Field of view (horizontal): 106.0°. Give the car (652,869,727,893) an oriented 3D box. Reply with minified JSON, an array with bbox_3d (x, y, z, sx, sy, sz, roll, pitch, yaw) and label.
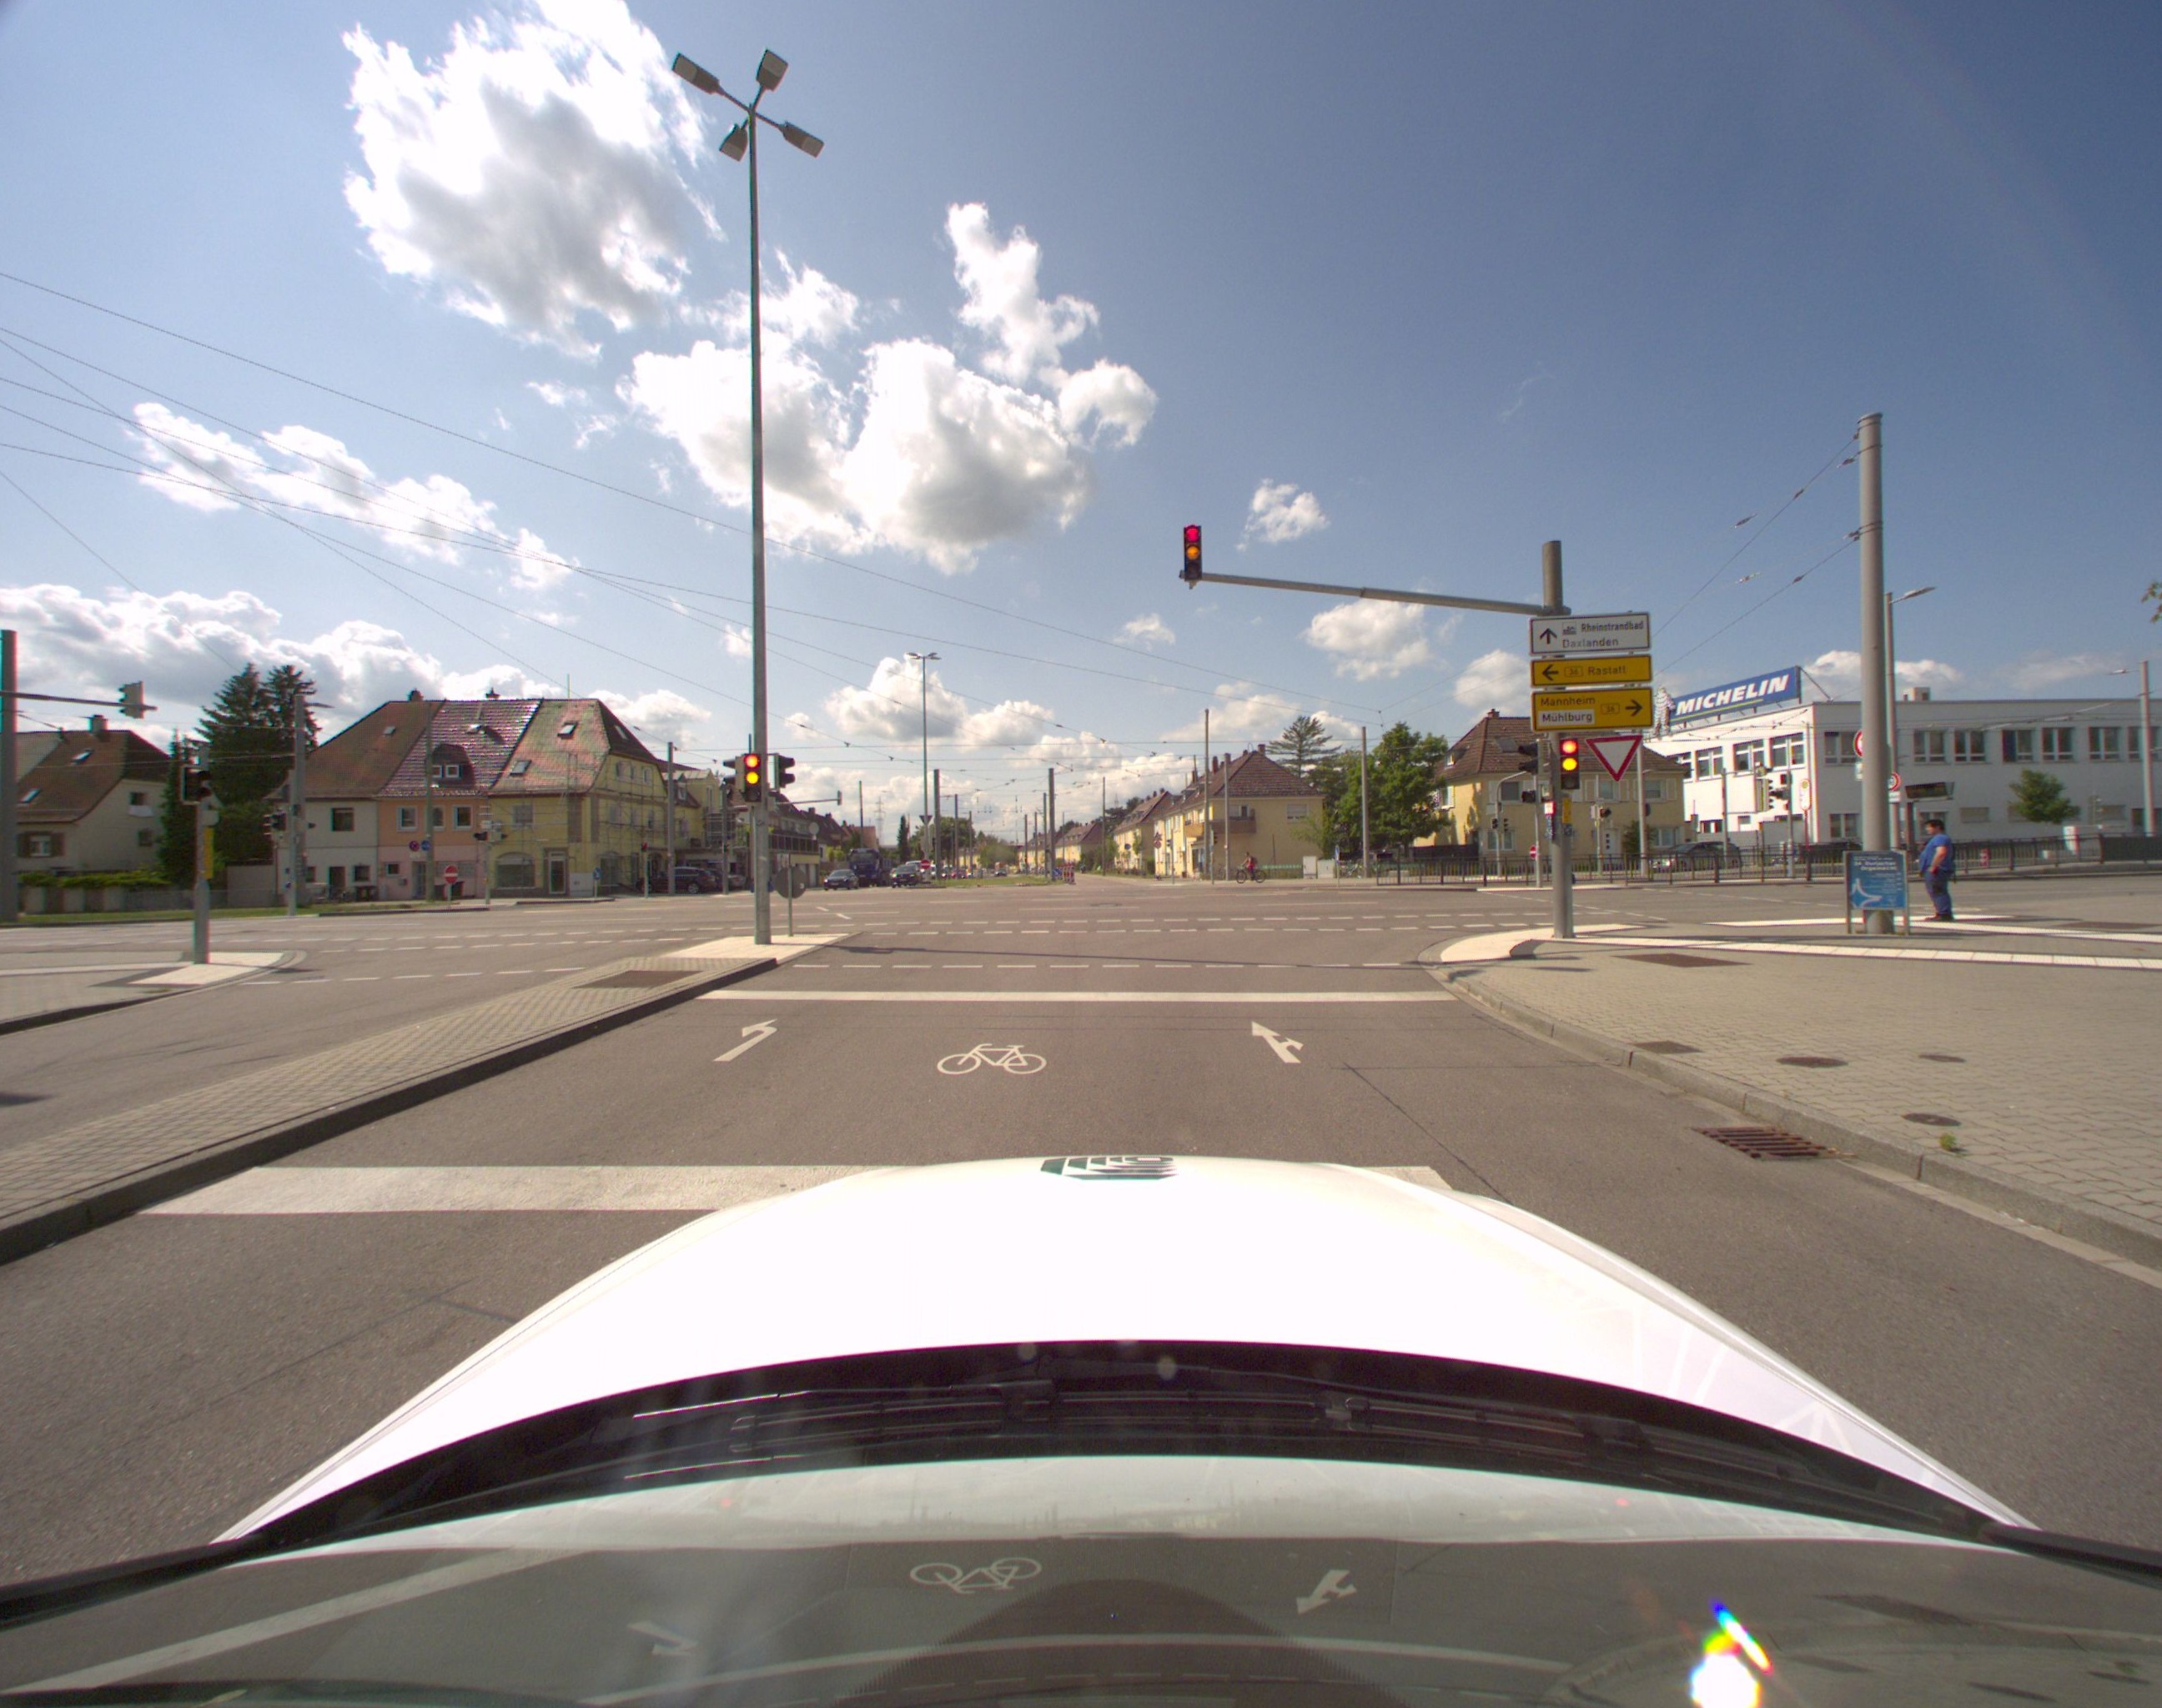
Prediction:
[{"bbox_3d":[-25.450,1.739,53.059,4.129,1.493,1.504,0,-1,-7],"label":"car"}]

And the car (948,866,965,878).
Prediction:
[{"bbox_3d":[-16.390,2.399,107.382,1.840,1.494,4.847,-2,-1,-5],"label":"car"}]

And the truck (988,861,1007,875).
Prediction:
[{"bbox_3d":[-22.421,3.721,218.313,2.651,3.494,9.368,-1,-1,-21],"label":"truck"}]

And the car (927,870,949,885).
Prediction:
[{"bbox_3d":[-14.254,2.338,81.293,1.912,1.419,3.991,-2,-1,-6],"label":"car"}]

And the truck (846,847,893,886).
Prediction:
[{"bbox_3d":[-18.163,1.099,70.285,2.765,3.188,7.565,-1,-1,-6],"label":"truck"}]

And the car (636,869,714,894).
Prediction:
[{"bbox_3d":[-25.087,1.718,50.372,4.129,1.493,1.176,0,-1,-7],"label":"car"}]

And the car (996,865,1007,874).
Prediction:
[{"bbox_3d":[-15.035,2.913,154.485,1.814,1.552,3.997,-2,0,-2],"label":"car"}]

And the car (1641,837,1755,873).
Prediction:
[{"bbox_3d":[28.961,0.056,38.322,3.974,1.568,1.842,-2,-1,-1],"label":"car"}]

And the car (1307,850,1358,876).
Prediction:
[{"bbox_3d":[16.974,0.652,55.148,1.821,1.621,3.989,-1,-2,-8],"label":"car"}]

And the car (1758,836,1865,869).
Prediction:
[{"bbox_3d":[34.917,-0.074,38.974,3.698,1.446,1.576,-2,-1,-1],"label":"car"}]

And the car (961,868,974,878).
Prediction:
[{"bbox_3d":[-18.206,3.071,130.711,1.840,1.562,4.180,-2,-1,-5],"label":"car"}]

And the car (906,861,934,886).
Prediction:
[{"bbox_3d":[-13.106,1.542,66.450,1.812,1.922,4.737,-1,-1,-6],"label":"car"}]

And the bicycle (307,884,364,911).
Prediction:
[{"bbox_3d":[-40.804,2.364,44.643,0.770,1.356,2.460,0,-1,3],"label":"bicycle"}]

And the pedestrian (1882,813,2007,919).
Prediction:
[{"bbox_3d":[14.866,0.207,14.061,1.027,1.735,1.040,-1,0,-2],"label":"pedestrian"}]

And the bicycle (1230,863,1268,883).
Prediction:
[{"bbox_3d":[9.793,1.129,47.393,2.029,1.102,0.712,-1,-1,-13],"label":"bicycle"}]

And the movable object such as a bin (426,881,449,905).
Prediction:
[{"bbox_3d":[-35.375,2.143,44.774,0.680,1.260,0.681,0,-1,-2],"label":"movable object such as a bin"}]

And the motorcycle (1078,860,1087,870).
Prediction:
[{"bbox_3d":[0.232,1.846,132.266,1.065,1.635,2.079,-1,-1,-6],"label":"motorcycle"}]

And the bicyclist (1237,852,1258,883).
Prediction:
[{"bbox_3d":[9.745,0.771,47.549,0.958,1.775,0.716,-1,-1,-12],"label":"bicyclist"}]

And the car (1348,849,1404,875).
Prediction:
[{"bbox_3d":[19.764,0.583,54.717,1.821,1.621,3.989,-1,-2,-8],"label":"car"}]

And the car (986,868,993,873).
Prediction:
[{"bbox_3d":[-25.792,4.753,230.365,1.262,1.426,2.646,-1,-1,-22],"label":"car"}]

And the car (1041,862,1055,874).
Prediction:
[{"bbox_3d":[-6.391,2.768,157.637,2.064,2.149,4.865,-1,-1,-8],"label":"car"}]

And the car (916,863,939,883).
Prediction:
[{"bbox_3d":[-13.979,1.736,74.344,1.731,1.782,4.395,-2,-1,-6],"label":"car"}]

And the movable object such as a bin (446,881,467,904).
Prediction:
[{"bbox_3d":[-35.350,2.153,46.109,0.680,1.260,0.681,0,-1,-2],"label":"movable object such as a bin"}]

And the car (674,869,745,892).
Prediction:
[{"bbox_3d":[-25.394,1.796,55.771,4.129,1.493,1.431,0,-1,-7],"label":"car"}]

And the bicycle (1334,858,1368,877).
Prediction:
[{"bbox_3d":[16.014,0.792,48.349,1.785,1.105,0.707,-2,-1,41],"label":"bicycle"}]

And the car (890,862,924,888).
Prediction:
[{"bbox_3d":[-12.779,1.505,60.021,1.783,1.720,4.434,-1,0,-5],"label":"car"}]

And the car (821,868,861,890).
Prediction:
[{"bbox_3d":[-17.237,1.792,58.645,1.824,1.487,4.328,-1,-1,-3],"label":"car"}]

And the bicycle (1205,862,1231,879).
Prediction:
[{"bbox_3d":[9.357,1.150,55.688,0.596,1.096,2.258,-1,-1,-25],"label":"bicycle"}]
